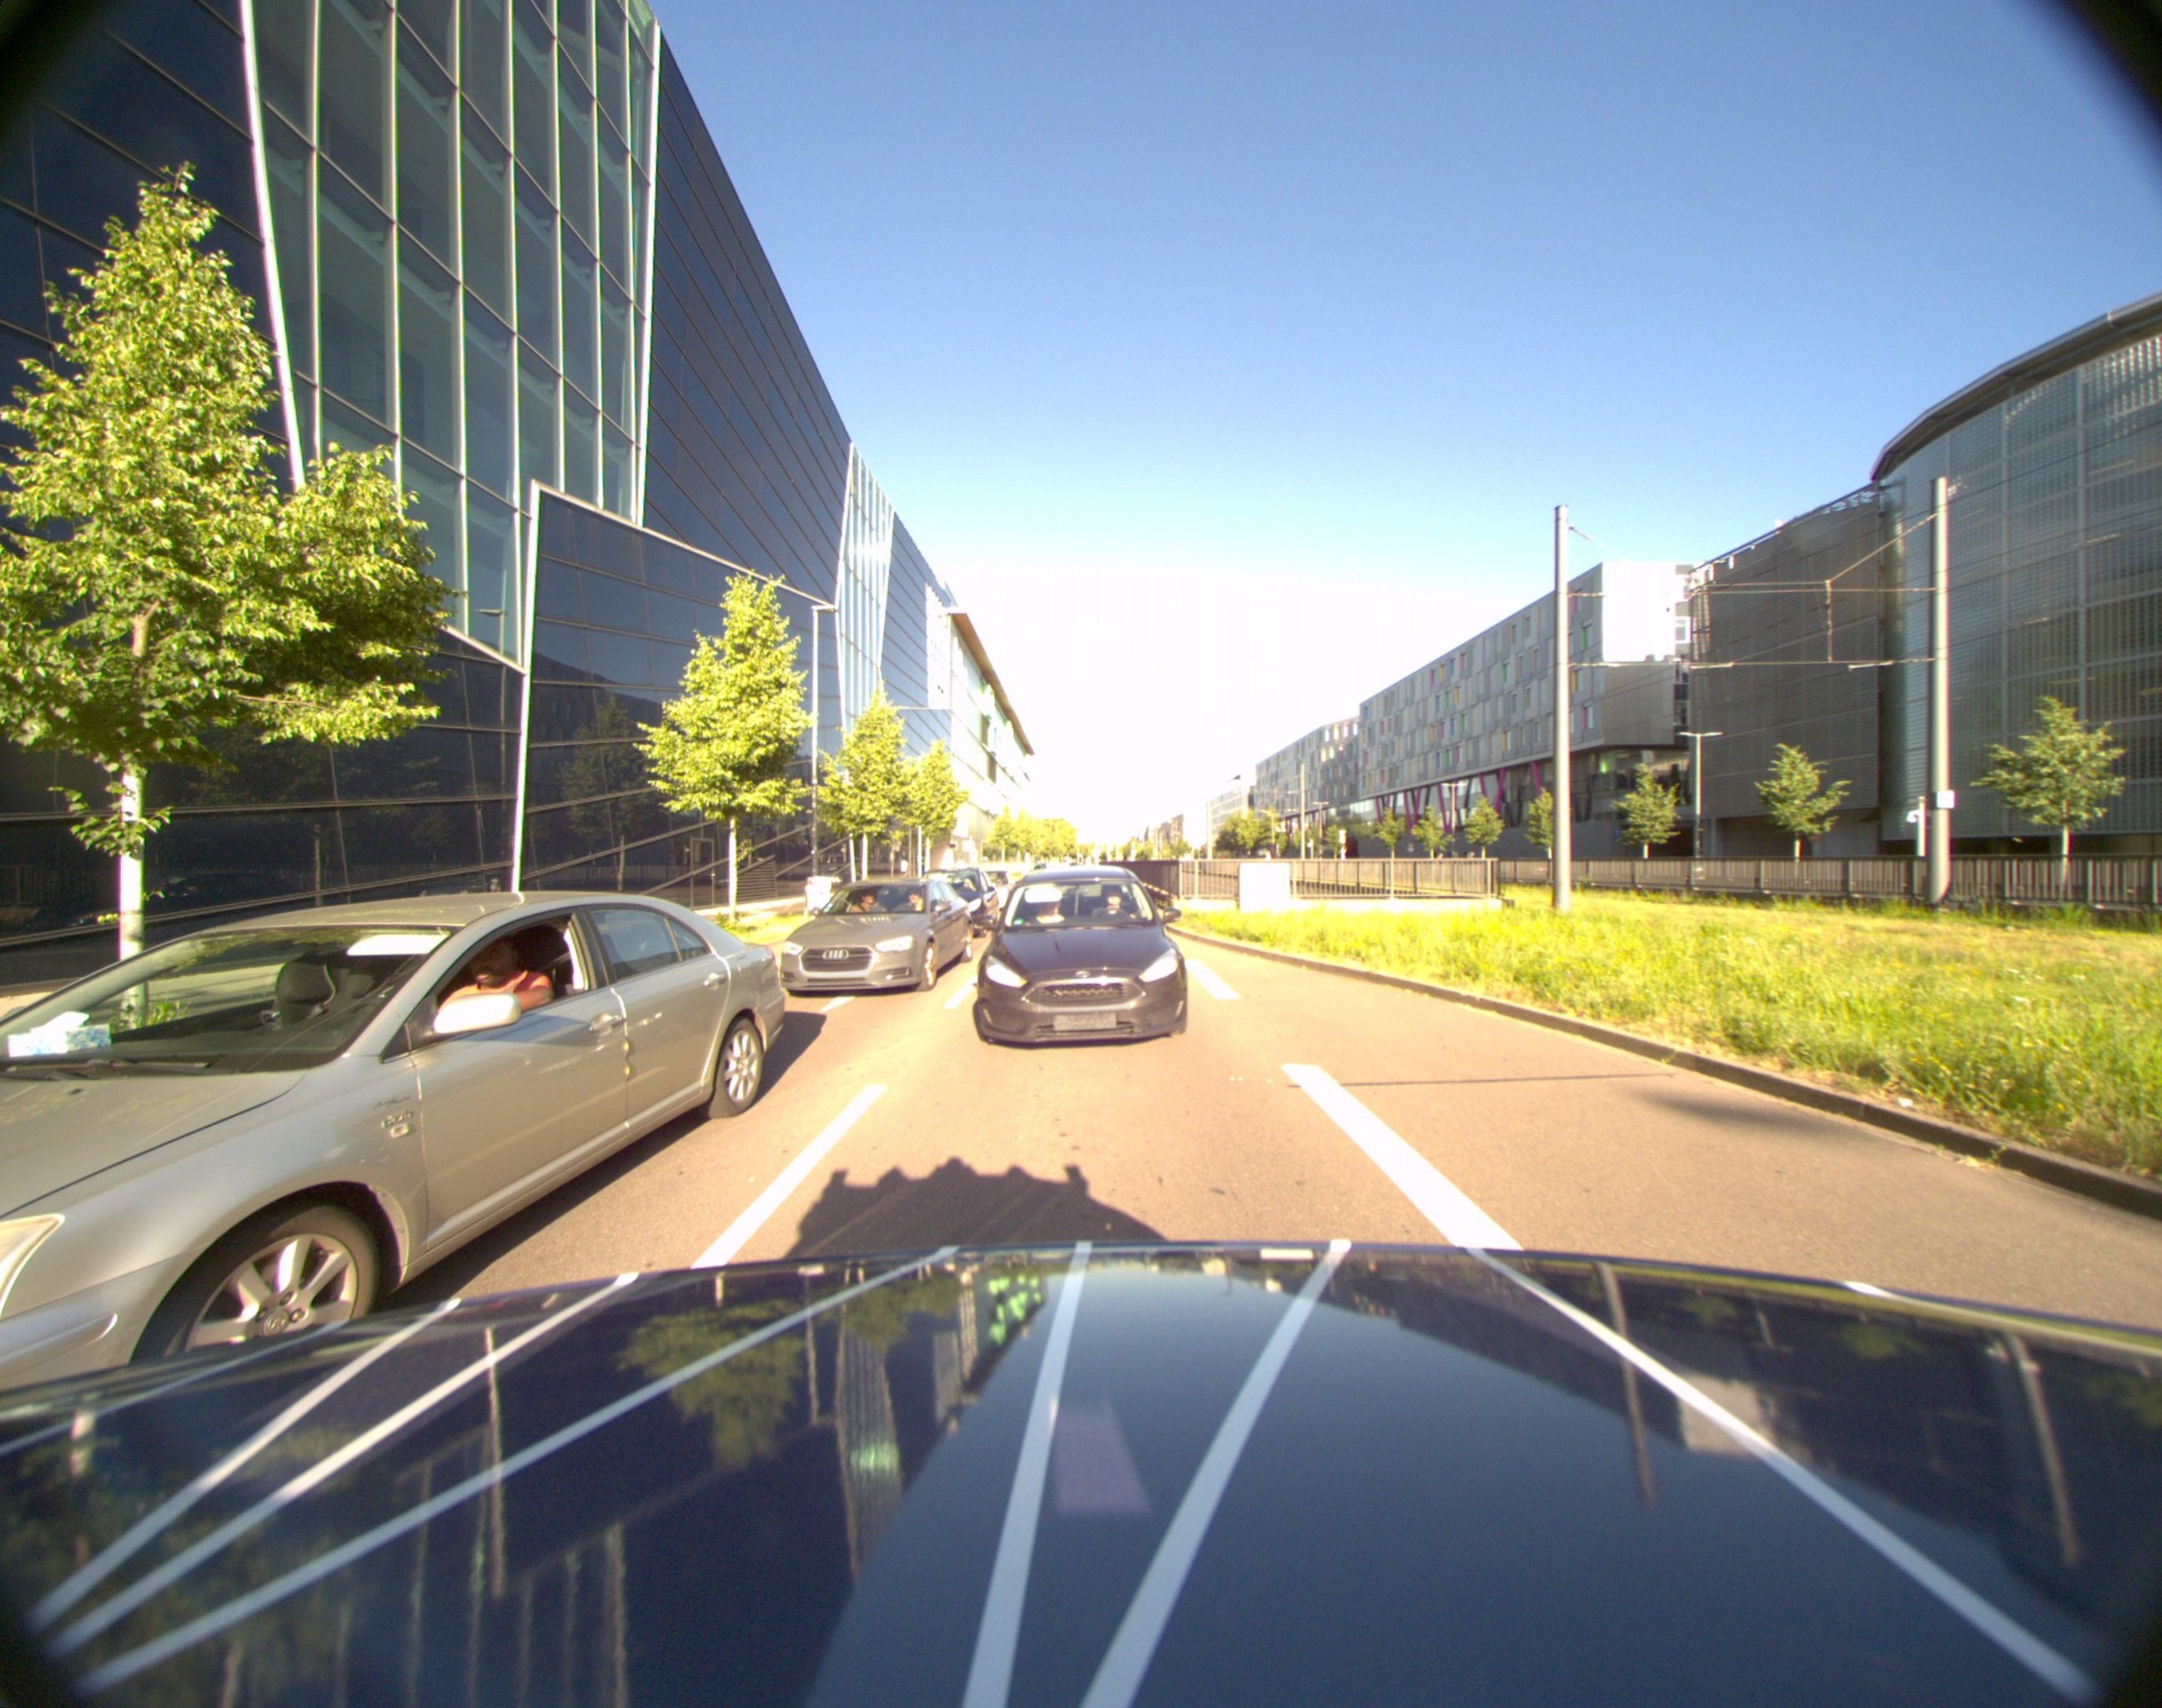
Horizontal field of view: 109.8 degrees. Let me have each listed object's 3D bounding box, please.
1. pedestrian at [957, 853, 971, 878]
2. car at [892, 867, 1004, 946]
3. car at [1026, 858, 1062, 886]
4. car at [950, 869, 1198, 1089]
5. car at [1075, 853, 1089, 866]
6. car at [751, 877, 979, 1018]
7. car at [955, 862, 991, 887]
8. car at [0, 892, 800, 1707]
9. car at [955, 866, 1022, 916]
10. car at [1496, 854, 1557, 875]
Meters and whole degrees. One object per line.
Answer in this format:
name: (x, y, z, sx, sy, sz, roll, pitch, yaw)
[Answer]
pedestrian: (-8.915, 0.854, 57.873, 0.828, 1.814, 0.905, 3, 0, 0)
car: (-2.840, 1.075, 17.030, 1.753, 1.469, 3.972, -2, 0, 0)
car: (-2.210, 1.053, 45.813, 1.907, 1.612, 4.000, 0, 0, 1)
car: (-0.033, 0.970, 7.901, 1.787, 1.499, 4.590, -2, 0, 0)
car: (0.190, 0.838, 120.812, 1.998, 2.002, 4.000, -2, 1, 1)
car: (-2.683, 1.101, 10.548, 1.750, 1.384, 4.265, -2, 0, 3)
car: (-7.158, 1.333, 50.762, 1.740, 1.489, 4.715, 1, 0, 0)
car: (-3.070, 1.043, 3.430, 1.750, 1.473, 4.628, -1, 0, 2)
car: (-2.981, 1.167, 25.159, 1.753, 1.469, 3.418, -2, 0, 0)
car: (32.101, 0.733, 54.865, 1.998, 1.492, 4.244, -1, 0, 1)
